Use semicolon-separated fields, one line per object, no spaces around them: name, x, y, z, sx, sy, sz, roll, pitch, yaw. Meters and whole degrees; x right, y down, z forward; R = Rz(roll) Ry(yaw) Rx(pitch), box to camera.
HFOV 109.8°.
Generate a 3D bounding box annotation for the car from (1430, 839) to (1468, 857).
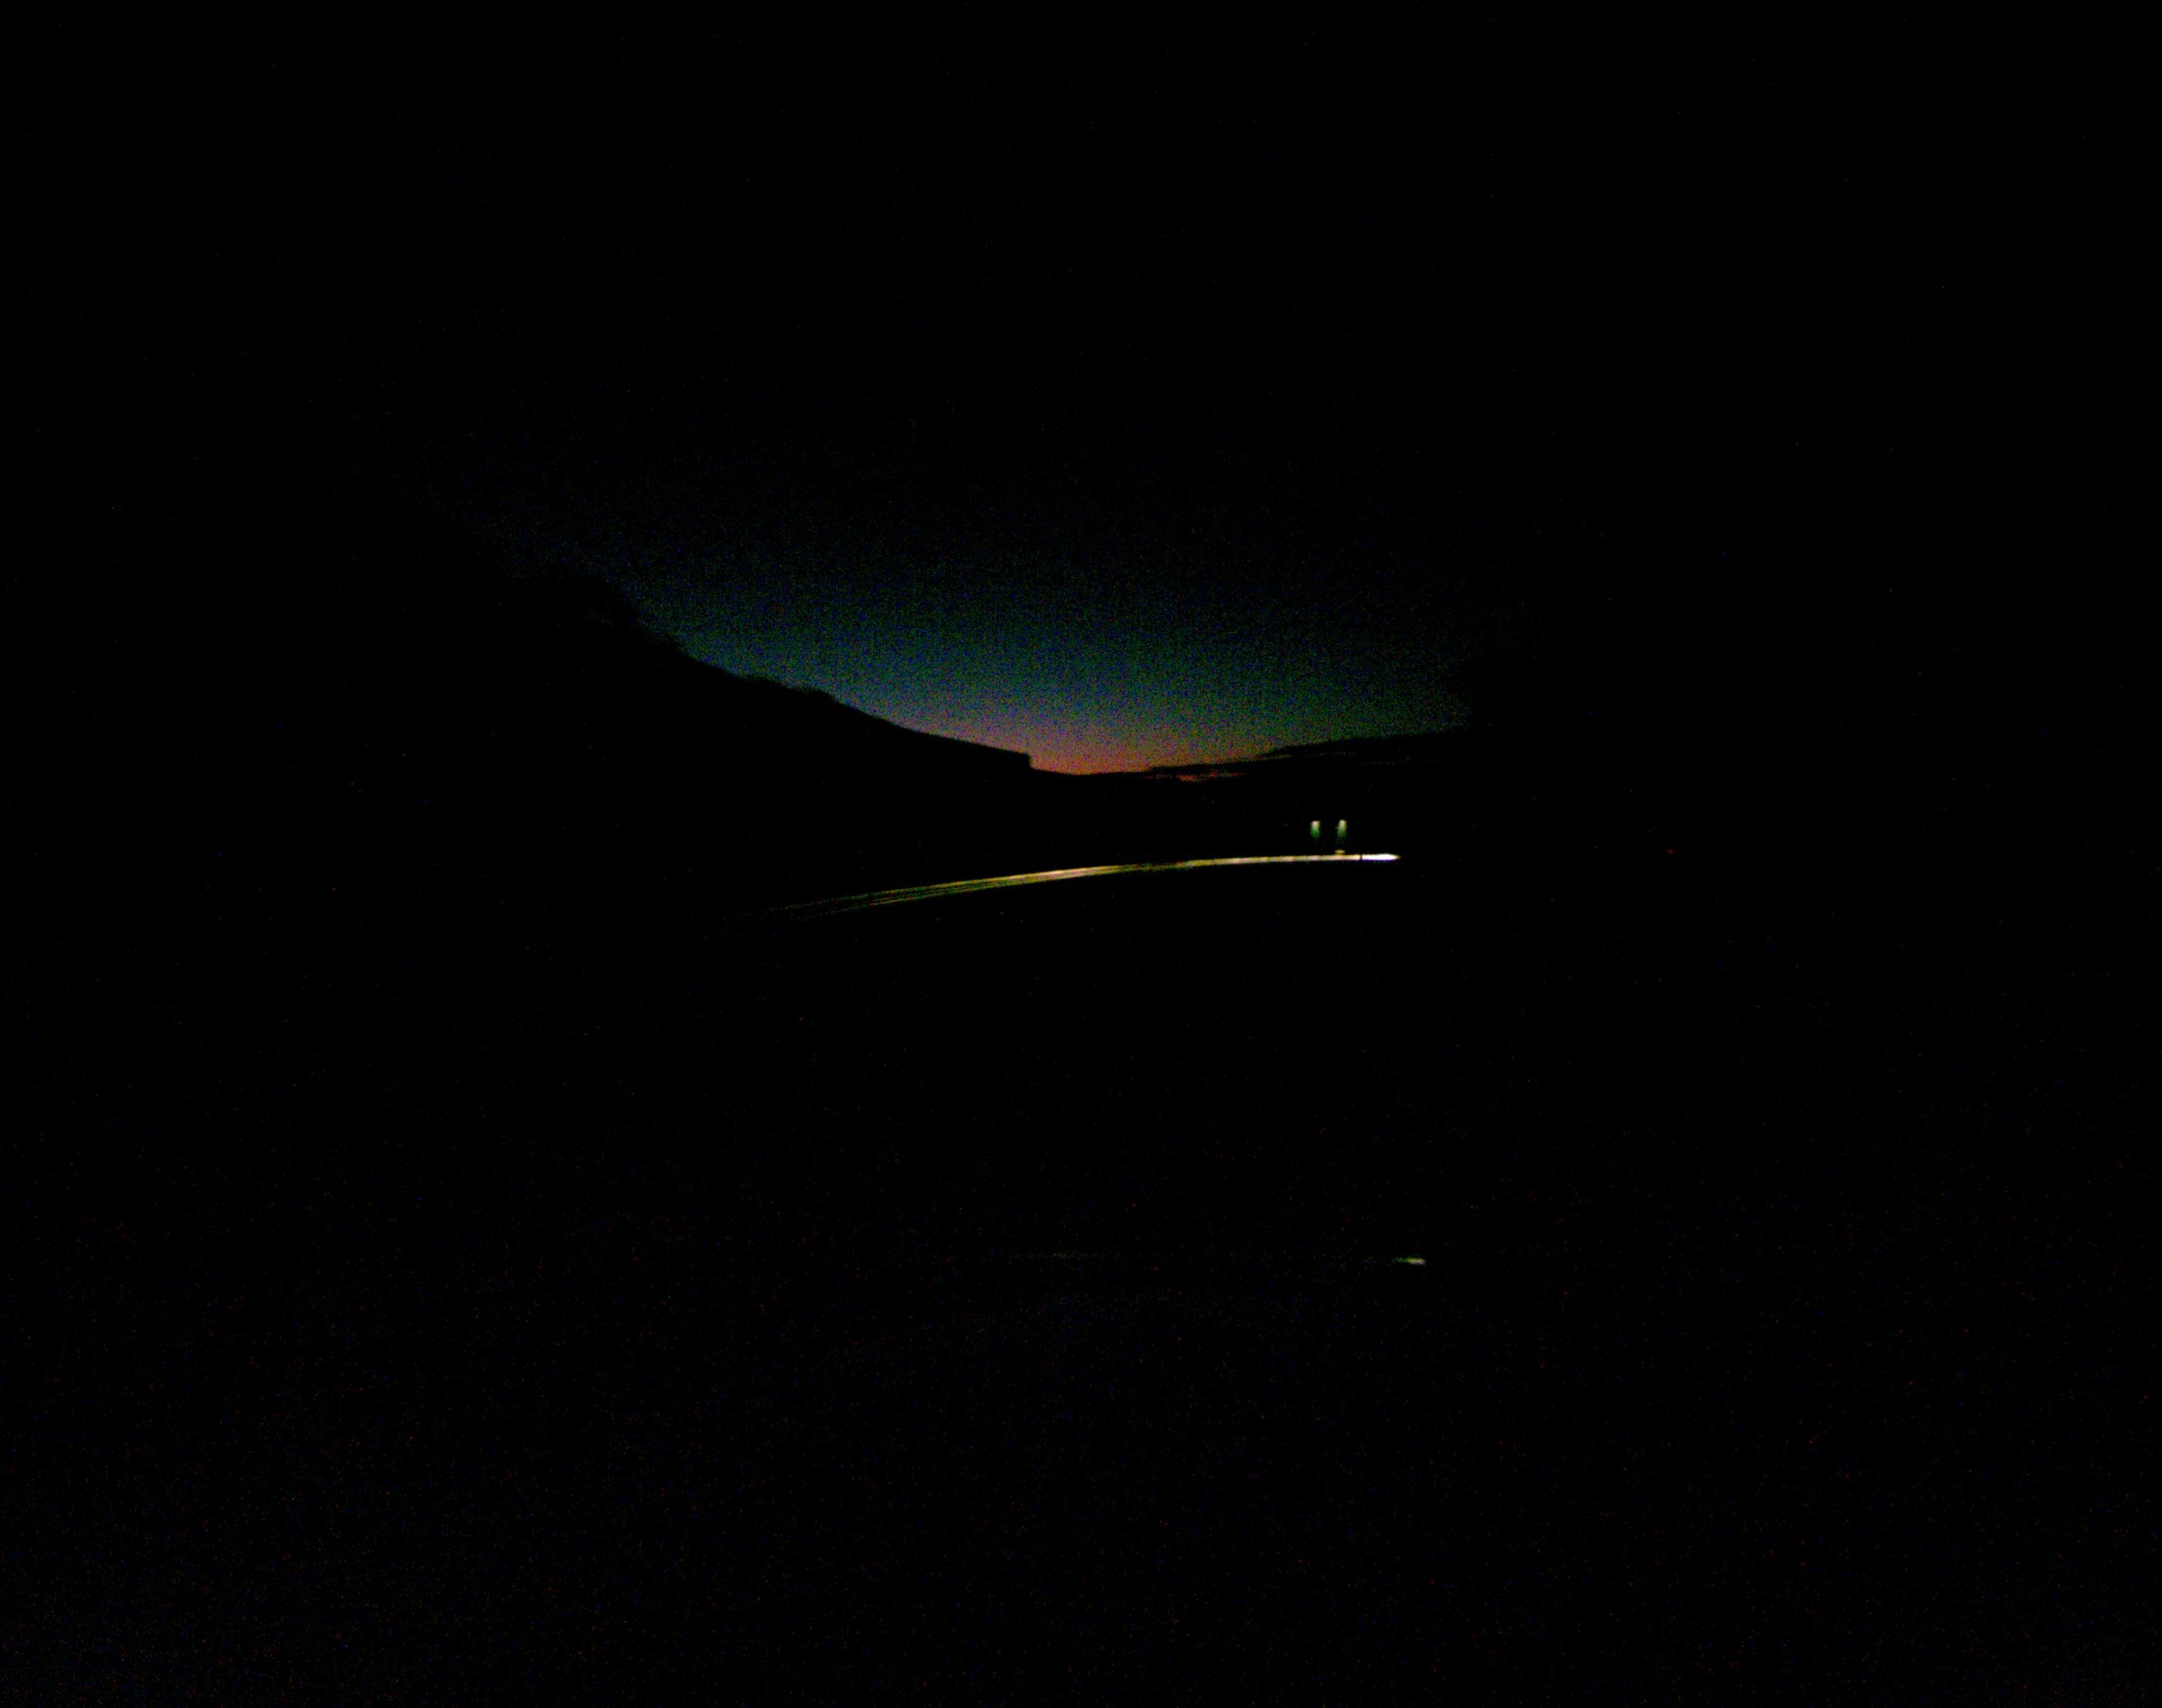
car;32.361;-0.576;66.683;1.758;1.451;4.201;2;3;44
